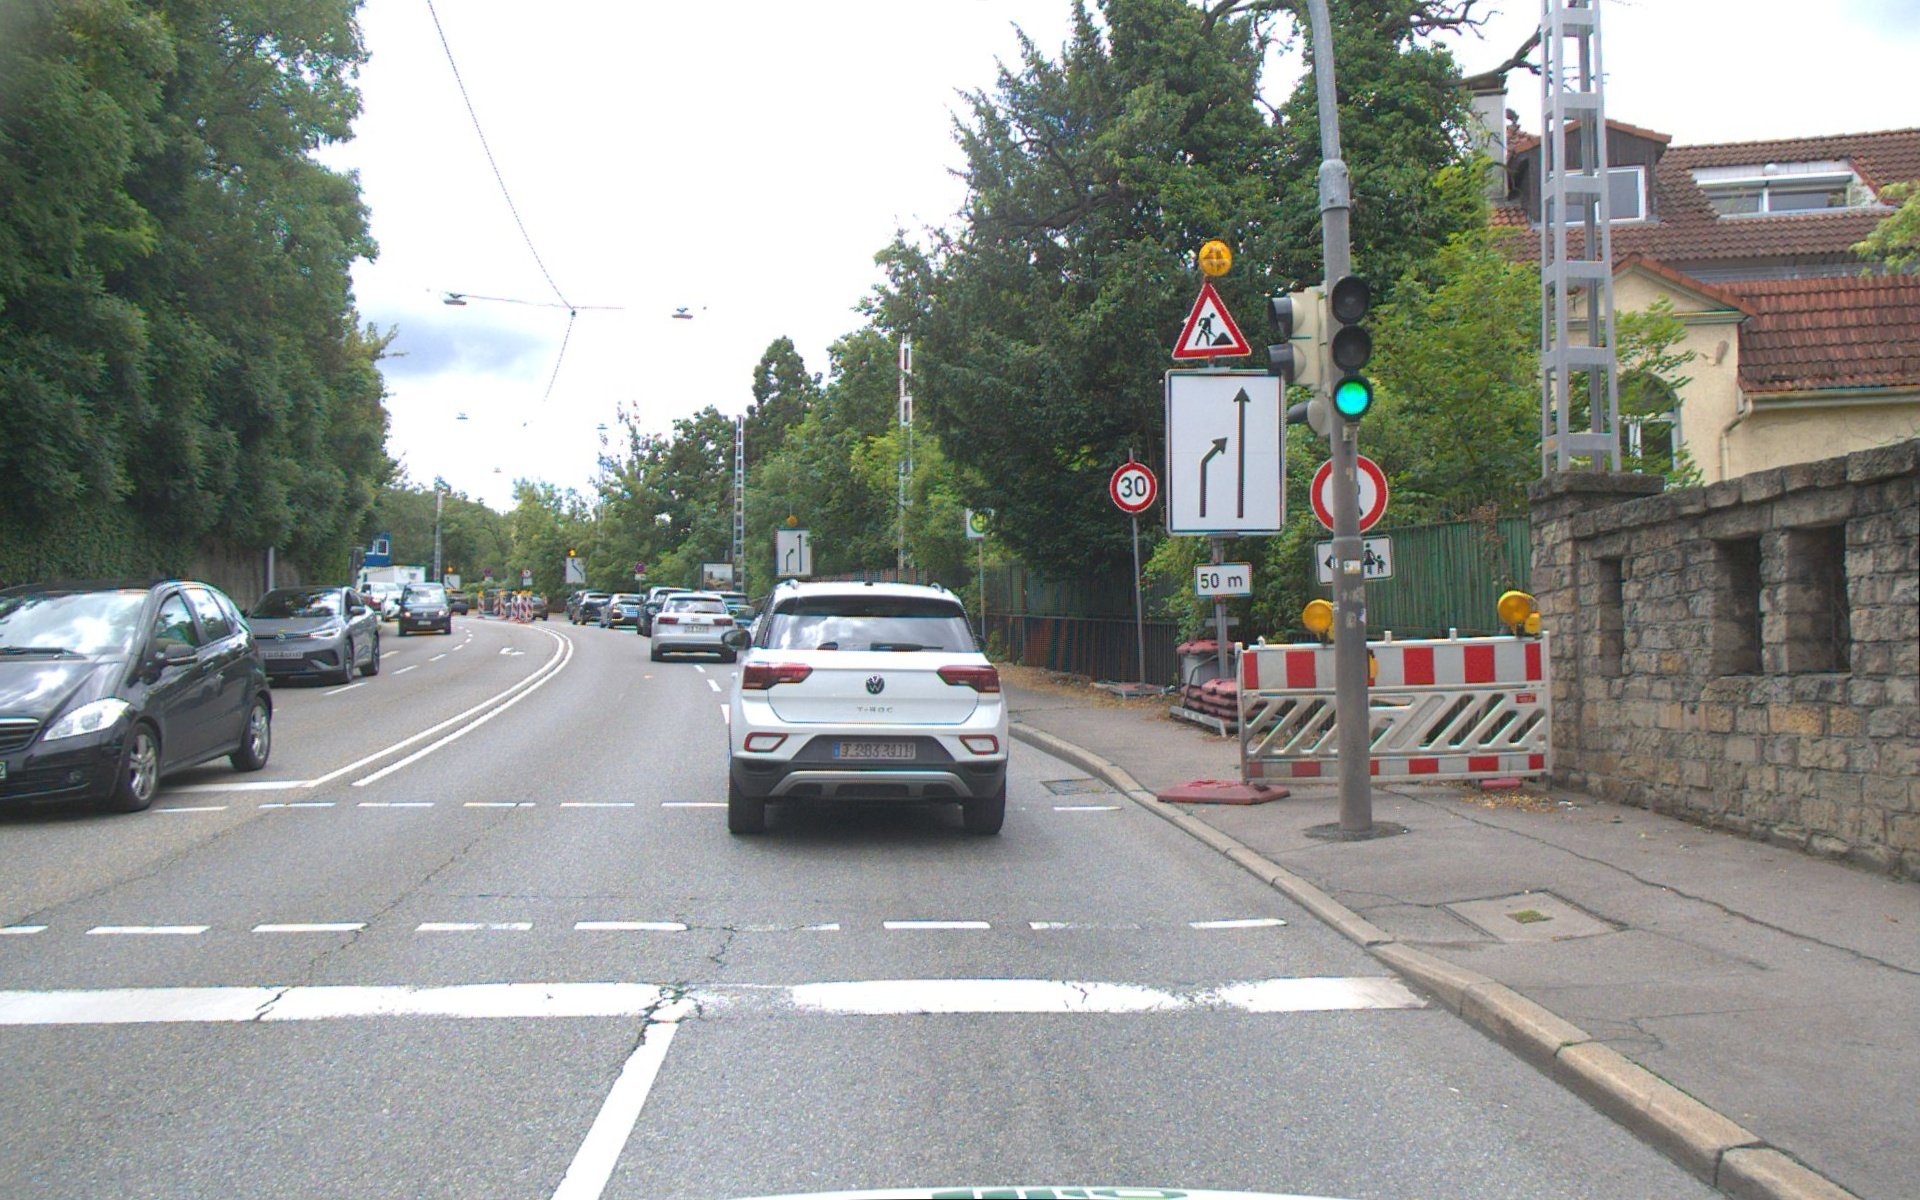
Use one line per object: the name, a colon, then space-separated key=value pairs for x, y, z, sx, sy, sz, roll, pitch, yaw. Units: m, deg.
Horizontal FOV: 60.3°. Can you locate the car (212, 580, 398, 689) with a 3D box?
car: x=-11.133 y=0.544 z=28.452 sx=1.957 sy=1.636 sz=4.467 roll=-2 pitch=0 yaw=-9

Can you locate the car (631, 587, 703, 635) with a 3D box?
car: x=-10.016 y=0.352 z=56.298 sx=1.961 sy=1.583 sz=4.132 roll=1 pitch=0 yaw=-16

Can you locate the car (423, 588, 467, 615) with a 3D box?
car: x=-33.738 y=0.096 z=108.304 sx=1.824 sy=1.729 sz=3.954 roll=0 pitch=0 yaw=-33

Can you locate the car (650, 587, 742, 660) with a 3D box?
car: x=-5.833 y=0.514 z=36.260 sx=1.727 sy=1.497 sz=3.783 roll=1 pitch=-1 yaw=-13

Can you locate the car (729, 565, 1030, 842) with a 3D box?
car: x=-0.577 y=0.627 z=11.507 sx=1.723 sy=1.583 sz=3.792 roll=1 pitch=-1 yaw=-4

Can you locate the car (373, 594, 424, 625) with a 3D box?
car: x=-29.223 y=0.524 z=86.012 sx=1.763 sy=1.492 sz=4.061 roll=-2 pitch=0 yaw=-29

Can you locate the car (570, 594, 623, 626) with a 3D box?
car: x=-17.035 y=0.480 z=77.379 sx=1.963 sy=1.475 sz=4.127 roll=0 pitch=-1 yaw=-19

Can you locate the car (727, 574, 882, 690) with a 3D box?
car: x=-2.469 y=0.478 z=25.485 sx=1.729 sy=1.638 sz=3.779 roll=1 pitch=-1 yaw=-15

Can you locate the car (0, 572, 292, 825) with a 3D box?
car: x=-6.459 y=0.637 z=12.346 sx=1.720 sy=1.594 sz=3.675 roll=-2 pitch=0 yaw=-6

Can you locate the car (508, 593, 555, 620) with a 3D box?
car: x=-24.371 y=0.380 z=94.004 sx=1.760 sy=1.480 sz=3.962 roll=1 pitch=-1 yaw=-28

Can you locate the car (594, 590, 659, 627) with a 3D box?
car: x=-13.750 y=0.357 z=67.966 sx=1.965 sy=1.475 sz=4.124 roll=0 pitch=-1 yaw=-21

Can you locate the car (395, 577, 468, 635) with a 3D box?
car: x=-18.646 y=0.196 z=58.496 sx=1.711 sy=1.878 sz=4.240 roll=-3 pitch=1 yaw=-9

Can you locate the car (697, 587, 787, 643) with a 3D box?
car: x=-6.026 y=0.434 z=45.348 sx=1.960 sy=1.439 sz=4.134 roll=-1 pitch=-1 yaw=-15
